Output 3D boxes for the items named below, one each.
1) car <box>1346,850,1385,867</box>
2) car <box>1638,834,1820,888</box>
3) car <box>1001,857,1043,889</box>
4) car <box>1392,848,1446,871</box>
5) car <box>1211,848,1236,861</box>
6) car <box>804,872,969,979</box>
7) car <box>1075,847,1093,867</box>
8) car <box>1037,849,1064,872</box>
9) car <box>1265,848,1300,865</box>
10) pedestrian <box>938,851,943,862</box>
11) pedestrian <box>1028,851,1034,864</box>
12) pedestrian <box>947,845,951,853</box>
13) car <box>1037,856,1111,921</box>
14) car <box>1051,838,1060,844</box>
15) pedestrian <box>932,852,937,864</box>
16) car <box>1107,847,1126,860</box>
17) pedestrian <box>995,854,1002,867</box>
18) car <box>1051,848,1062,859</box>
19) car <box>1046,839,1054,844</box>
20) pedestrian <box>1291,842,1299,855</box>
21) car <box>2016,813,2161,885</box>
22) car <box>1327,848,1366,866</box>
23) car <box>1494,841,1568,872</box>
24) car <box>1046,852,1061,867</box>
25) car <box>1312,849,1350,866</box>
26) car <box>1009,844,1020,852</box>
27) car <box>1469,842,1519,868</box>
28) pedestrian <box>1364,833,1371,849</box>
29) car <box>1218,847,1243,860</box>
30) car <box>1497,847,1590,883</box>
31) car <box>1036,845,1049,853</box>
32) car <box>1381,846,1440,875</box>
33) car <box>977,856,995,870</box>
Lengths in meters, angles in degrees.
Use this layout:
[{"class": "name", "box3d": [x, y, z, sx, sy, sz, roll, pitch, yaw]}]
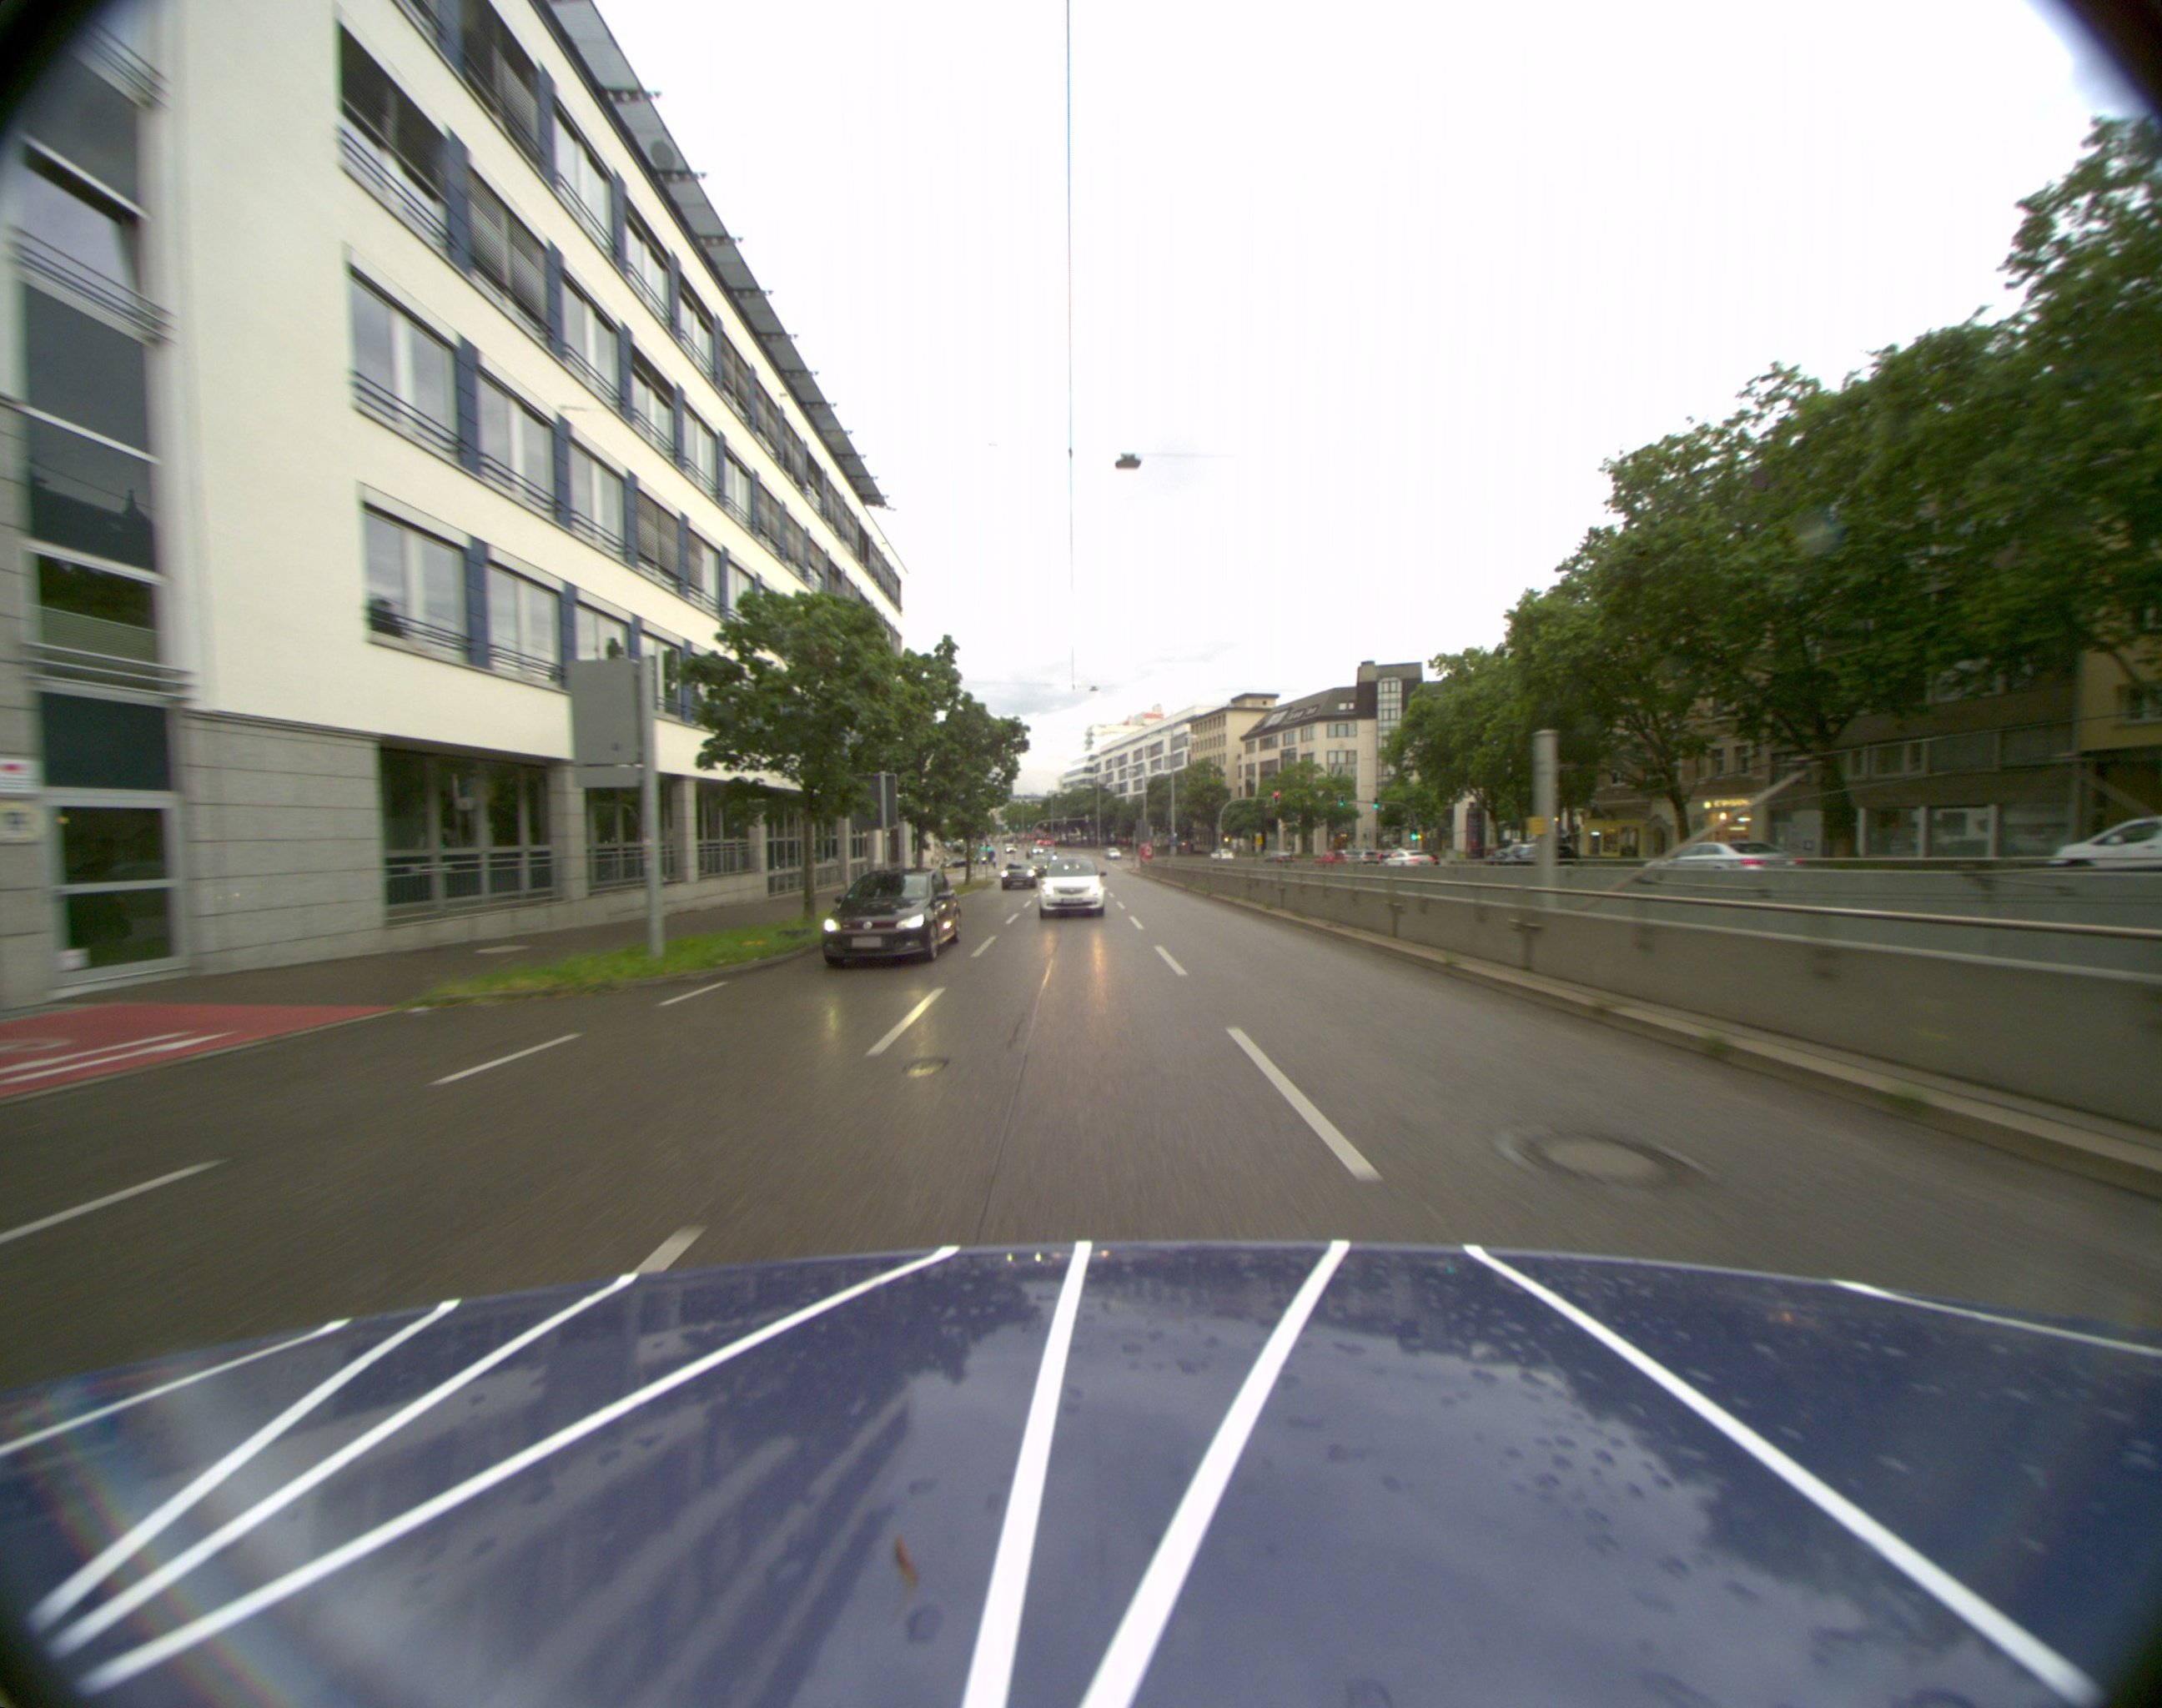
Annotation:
[{"class": "car", "box3d": [26.756, 0.383, 71.660, 1.800, 1.502, 3.940, -3, 1, -6]}, {"class": "car", "box3d": [20.604, 0.221, 24.489, 1.851, 1.501, 4.822, -2, 0, 2]}, {"class": "car", "box3d": [-3.022, 0.926, 39.474, 1.751, 1.433, 3.706, -3, 1, 2]}, {"class": "car", "box3d": [24.607, 0.359, 55.447, 1.800, 1.502, 3.997, -3, 1, -7]}, {"class": "car", "box3d": [17.132, 0.034, 91.466, 1.800, 1.552, 3.996, -2, 1, -8]}, {"class": "car", "box3d": [-3.075, 1.083, 12.849, 1.678, 1.391, 3.849, -2, 0, 1]}, {"class": "car", "box3d": [0.324, 0.307, 82.763, 1.799, 2.021, 3.999, -3, 1, 0]}, {"class": "car", "box3d": [-2.431, 0.524, 60.963, 1.798, 1.657, 4.000, -3, 1, 2]}, {"class": "car", "box3d": [19.821, 0.240, 75.064, 1.799, 1.548, 4.832, -2, 1, -5]}, {"class": "pedestrian", "box3d": [-20.100, 0.330, 108.516, 0.588, 1.600, 0.603, -3, 2, -14]}, {"class": "pedestrian", "box3d": [-6.795, 0.498, 103.075, 0.604, 1.792, 0.587, -3, 2, -8]}, {"class": "pedestrian", "box3d": [-22.553, -0.863, 130.048, 0.588, 1.469, 0.603, -3, 2, -21]}, {"class": "car", "box3d": [-0.165, 0.872, 20.931, 1.799, 1.528, 4.000, -1, 0, 0]}, {"class": "car", "box3d": [-7.701, -3.964, 229.848, 1.800, 1.502, 3.995, -3, 1, -12]}, {"class": "pedestrian", "box3d": [-20.913, 0.538, 108.332, 0.588, 1.600, 0.603, -3, 2, -14]}, {"class": "car", "box3d": [5.131, -0.045, 110.644, 1.800, 1.733, 3.995, -3, 1, -12]}, {"class": "pedestrian", "box3d": [-9.808, 0.784, 90.397, 0.588, 1.469, 0.603, -3, 2, -21]}, {"class": "car", "box3d": [-4.460, -0.068, 139.613, 1.799, 1.934, 3.998, -3, 1, -3]}, {"class": "car", "box3d": [-9.669, -4.023, 237.161, 1.800, 1.502, 3.995, -3, 1, -12]}, {"class": "pedestrian", "box3d": [29.081, -0.768, 103.403, 0.835, 1.774, 0.615, -3, 2, -8]}, {"class": "car", "box3d": [27.027, -0.159, 18.687, 1.882, 1.754, 4.900, -2, 0, -2]}, {"class": "car", "box3d": [23.993, 0.270, 68.800, 1.799, 1.502, 3.997, -2, 1, -6]}, {"class": "car", "box3d": [24.888, 0.117, 42.170, 1.798, 1.570, 4.017, -2, 0, 2]}, {"class": "car", "box3d": [-3.929, 0.747, 108.274, 1.800, 1.934, 3.997, -3, 1, -7]}, {"class": "car", "box3d": [21.069, 0.274, 64.130, 1.589, 1.393, 3.878, -2, 1, -5]}, {"class": "car", "box3d": [-14.406, -1.264, 164.426, 1.800, 1.502, 3.995, -3, 1, -12]}, {"class": "car", "box3d": [26.867, 0.060, 49.583, 1.699, 1.541, 4.066, -2, 0, 11]}, {"class": "pedestrian", "box3d": [33.101, -1.459, 87.831, 0.590, 1.799, 0.674, -2, 2, 6]}, {"class": "car", "box3d": [19.297, -0.079, 98.113, 1.800, 1.502, 3.996, -2, 1, -10]}, {"class": "car", "box3d": [21.245, 0.439, 35.121, 1.798, 1.502, 4.344, -1, 1, 2]}, {"class": "car", "box3d": [-7.788, -0.923, 153.036, 1.800, 1.502, 3.995, -3, 1, -12]}, {"class": "car", "box3d": [21.653, 0.364, 50.197, 1.799, 1.760, 4.730, -1, 1, -1]}, {"class": "car", "box3d": [-13.971, 1.297, 111.840, 1.798, 1.851, 4.292, -2, 1, 3]}]
